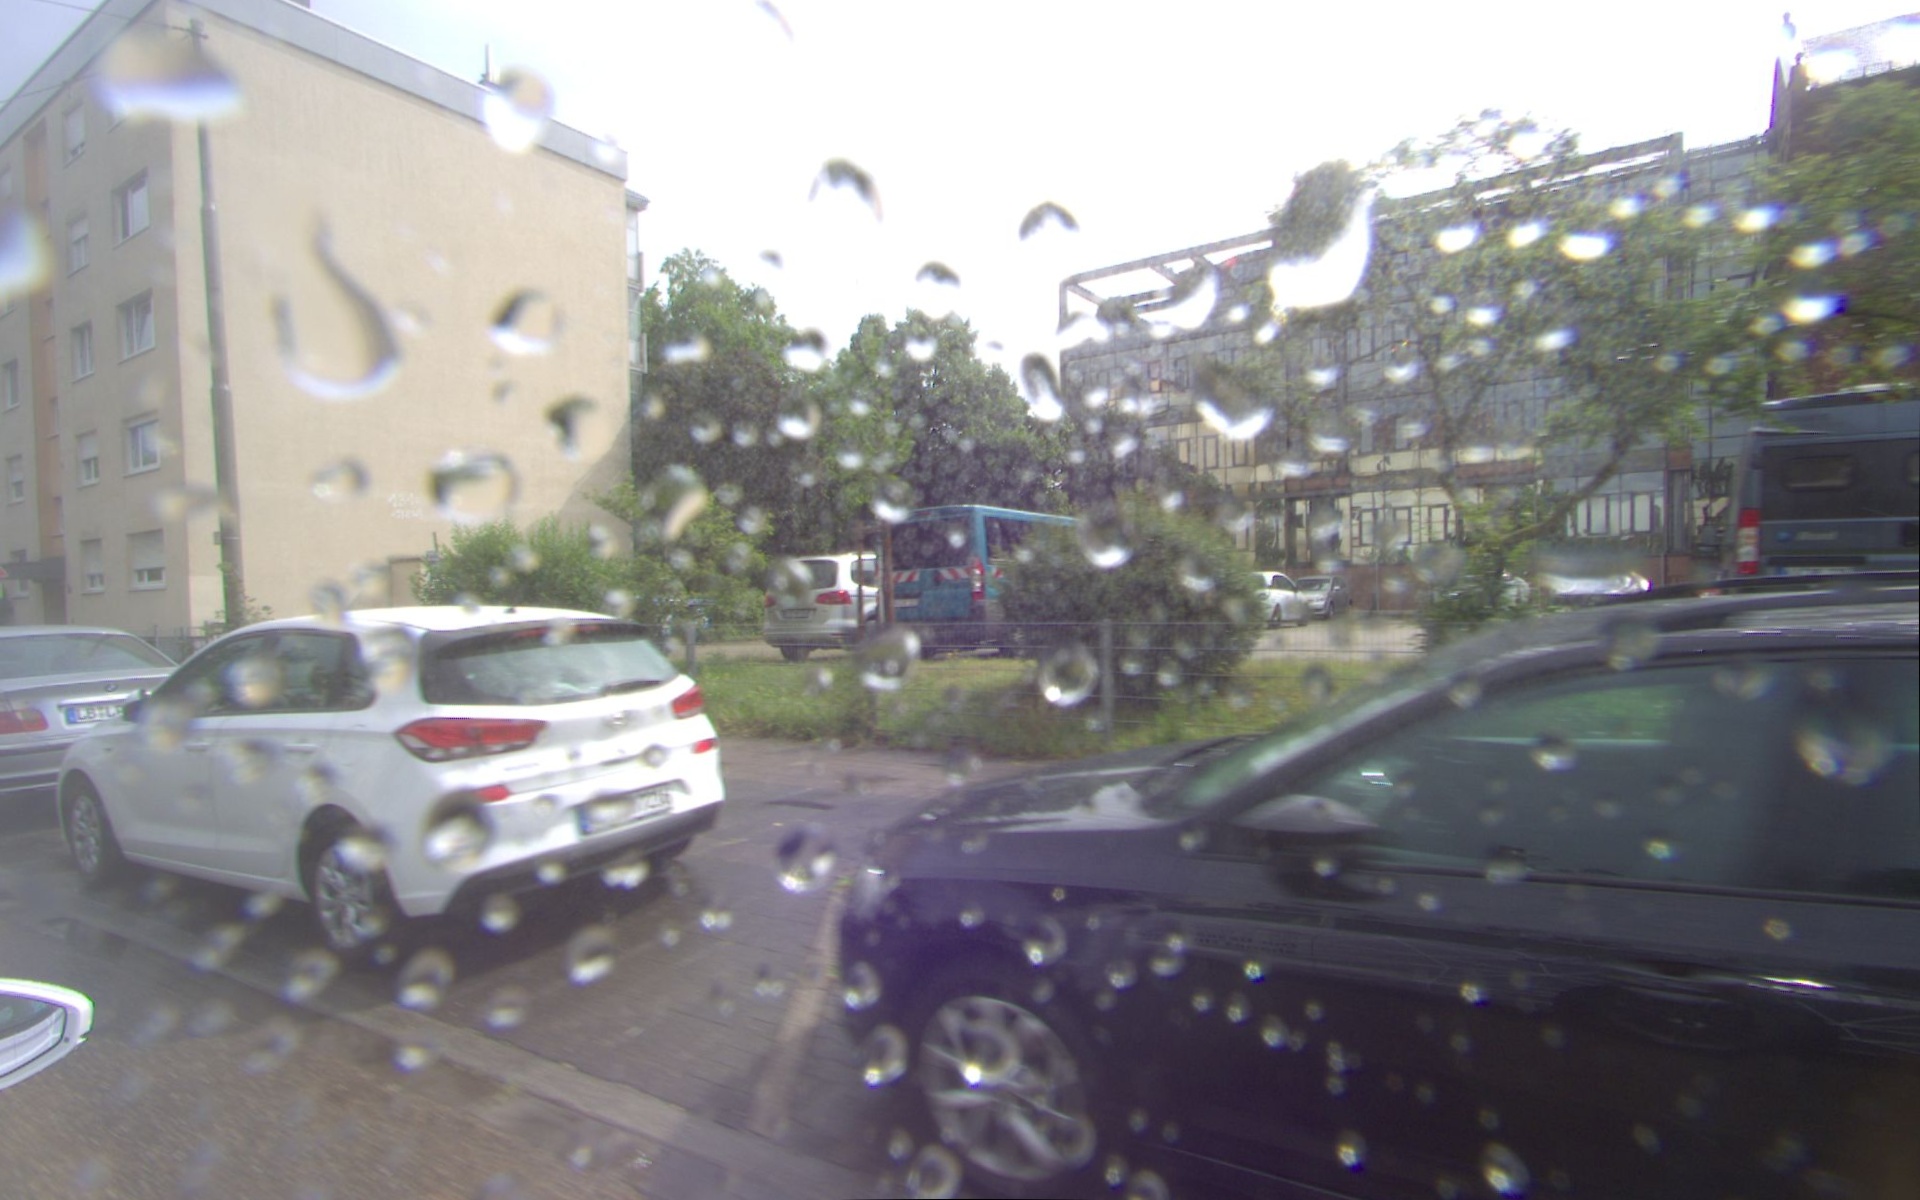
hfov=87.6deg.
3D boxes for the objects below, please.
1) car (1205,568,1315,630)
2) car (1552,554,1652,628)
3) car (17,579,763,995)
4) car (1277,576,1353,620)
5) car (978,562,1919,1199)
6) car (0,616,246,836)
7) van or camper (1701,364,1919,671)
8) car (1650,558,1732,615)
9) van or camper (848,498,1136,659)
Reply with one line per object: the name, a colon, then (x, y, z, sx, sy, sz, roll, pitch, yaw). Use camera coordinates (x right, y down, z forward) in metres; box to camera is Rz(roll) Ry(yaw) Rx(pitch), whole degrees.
car: (7.965, -0.065, 26.400, 1.618, 1.506, 3.652, 0, 1, 37)
car: (14.225, -0.220, 22.093, 1.650, 1.485, 3.960, -1, 1, 36)
car: (-3.217, 0.751, 5.469, 4.052, 1.528, 1.746, -2, 0, 31)
car: (12.918, -0.095, 36.287, 1.650, 1.506, 3.654, -1, 0, 36)
car: (2.222, 0.701, 2.059, 4.101, 1.529, 1.600, -1, 2, 32)
car: (-7.946, 0.887, 8.310, 4.195, 1.471, 1.714, -1, -1, 30)
van or camper: (9.315, -0.706, 10.648, 2.146, 2.588, 4.982, -2, 0, 35)
car: (21.819, -0.346, 29.986, 1.662, 1.538, 3.492, -2, -2, 31)
van or camper: (0.686, -0.305, 16.050, 2.292, 2.160, 4.740, 0, 1, 38)
